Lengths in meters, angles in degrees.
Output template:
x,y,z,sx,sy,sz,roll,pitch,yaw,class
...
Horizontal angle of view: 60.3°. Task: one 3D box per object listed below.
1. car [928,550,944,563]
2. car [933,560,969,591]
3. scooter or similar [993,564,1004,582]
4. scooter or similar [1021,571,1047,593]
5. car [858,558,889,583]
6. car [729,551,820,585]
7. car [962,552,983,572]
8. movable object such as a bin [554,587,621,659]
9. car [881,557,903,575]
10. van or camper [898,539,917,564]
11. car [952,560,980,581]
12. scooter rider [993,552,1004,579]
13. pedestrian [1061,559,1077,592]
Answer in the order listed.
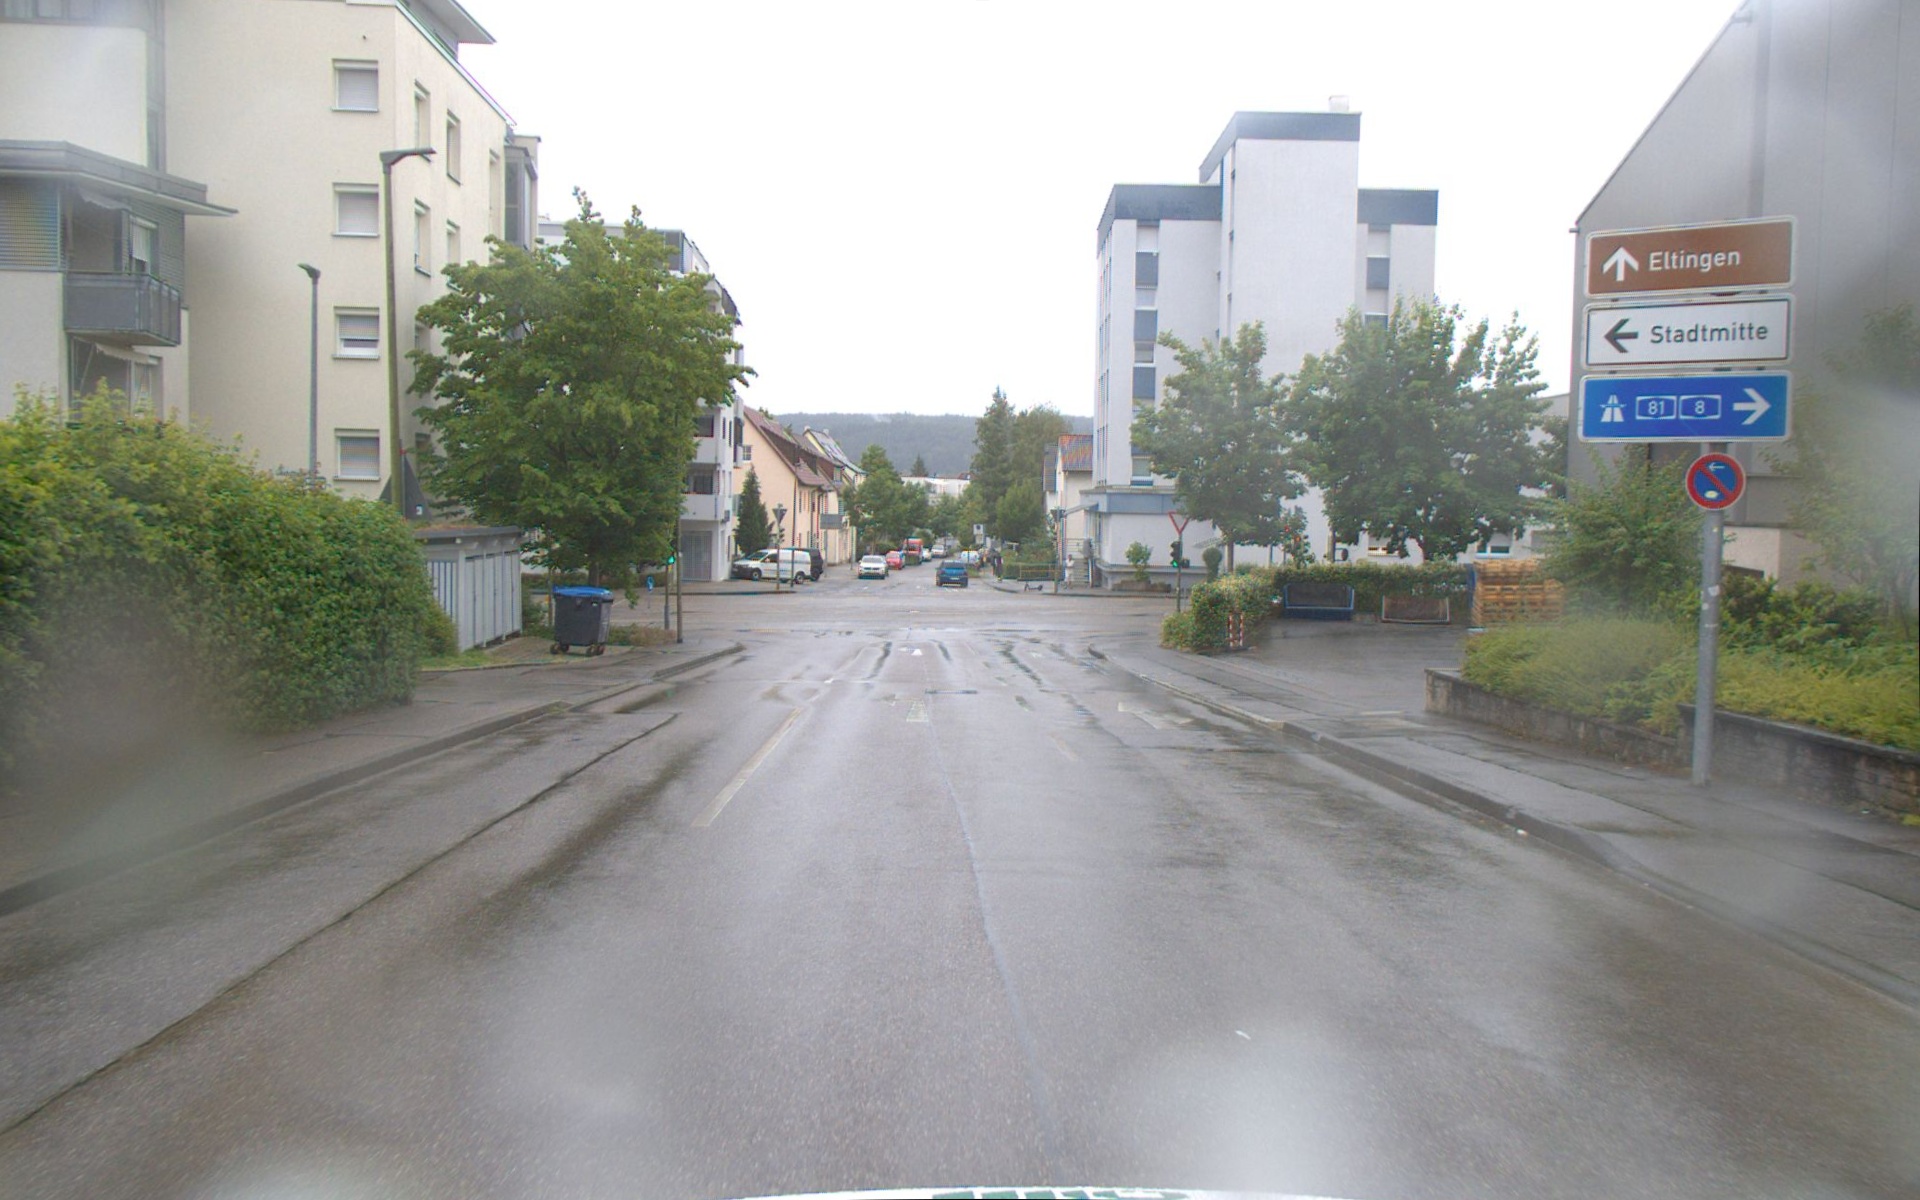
x,y,z,sx,sy,sz,roll,pitch,yaw,class
-2.920,-5.297,200.351,1.862,1.586,4.192,0,1,0,car
-0.553,-1.448,97.078,1.954,1.713,3.999,0,2,-3,car
2.562,-1.821,110.655,0.741,1.192,1.314,0,1,1,scooter or similar
3.781,-0.902,84.460,1.243,1.100,0.875,0,1,-5,scooter or similar
-5.933,-2.037,113.610,1.953,1.654,4.192,0,1,0,car
-10.437,-1.839,93.227,4.797,1.867,1.972,-1,2,-39,car
1.110,-3.416,149.338,1.862,1.775,4.192,0,1,0,car
-7.488,0.446,33.294,1.050,1.371,1.318,2,0,-3,movable object such as a bin
-6.143,-3.128,150.063,1.862,1.586,4.192,0,1,0,car
-5.476,-5.021,172.602,1.862,2.557,4.239,0,1,0,van or camper
0.417,-2.269,127.037,2.102,1.616,4.128,0,1,0,car
2.567,-2.318,110.581,0.736,1.827,0.673,0,1,-1,scooter rider
5.641,-1.251,85.776,0.635,1.676,0.525,3,0,-7,pedestrian
